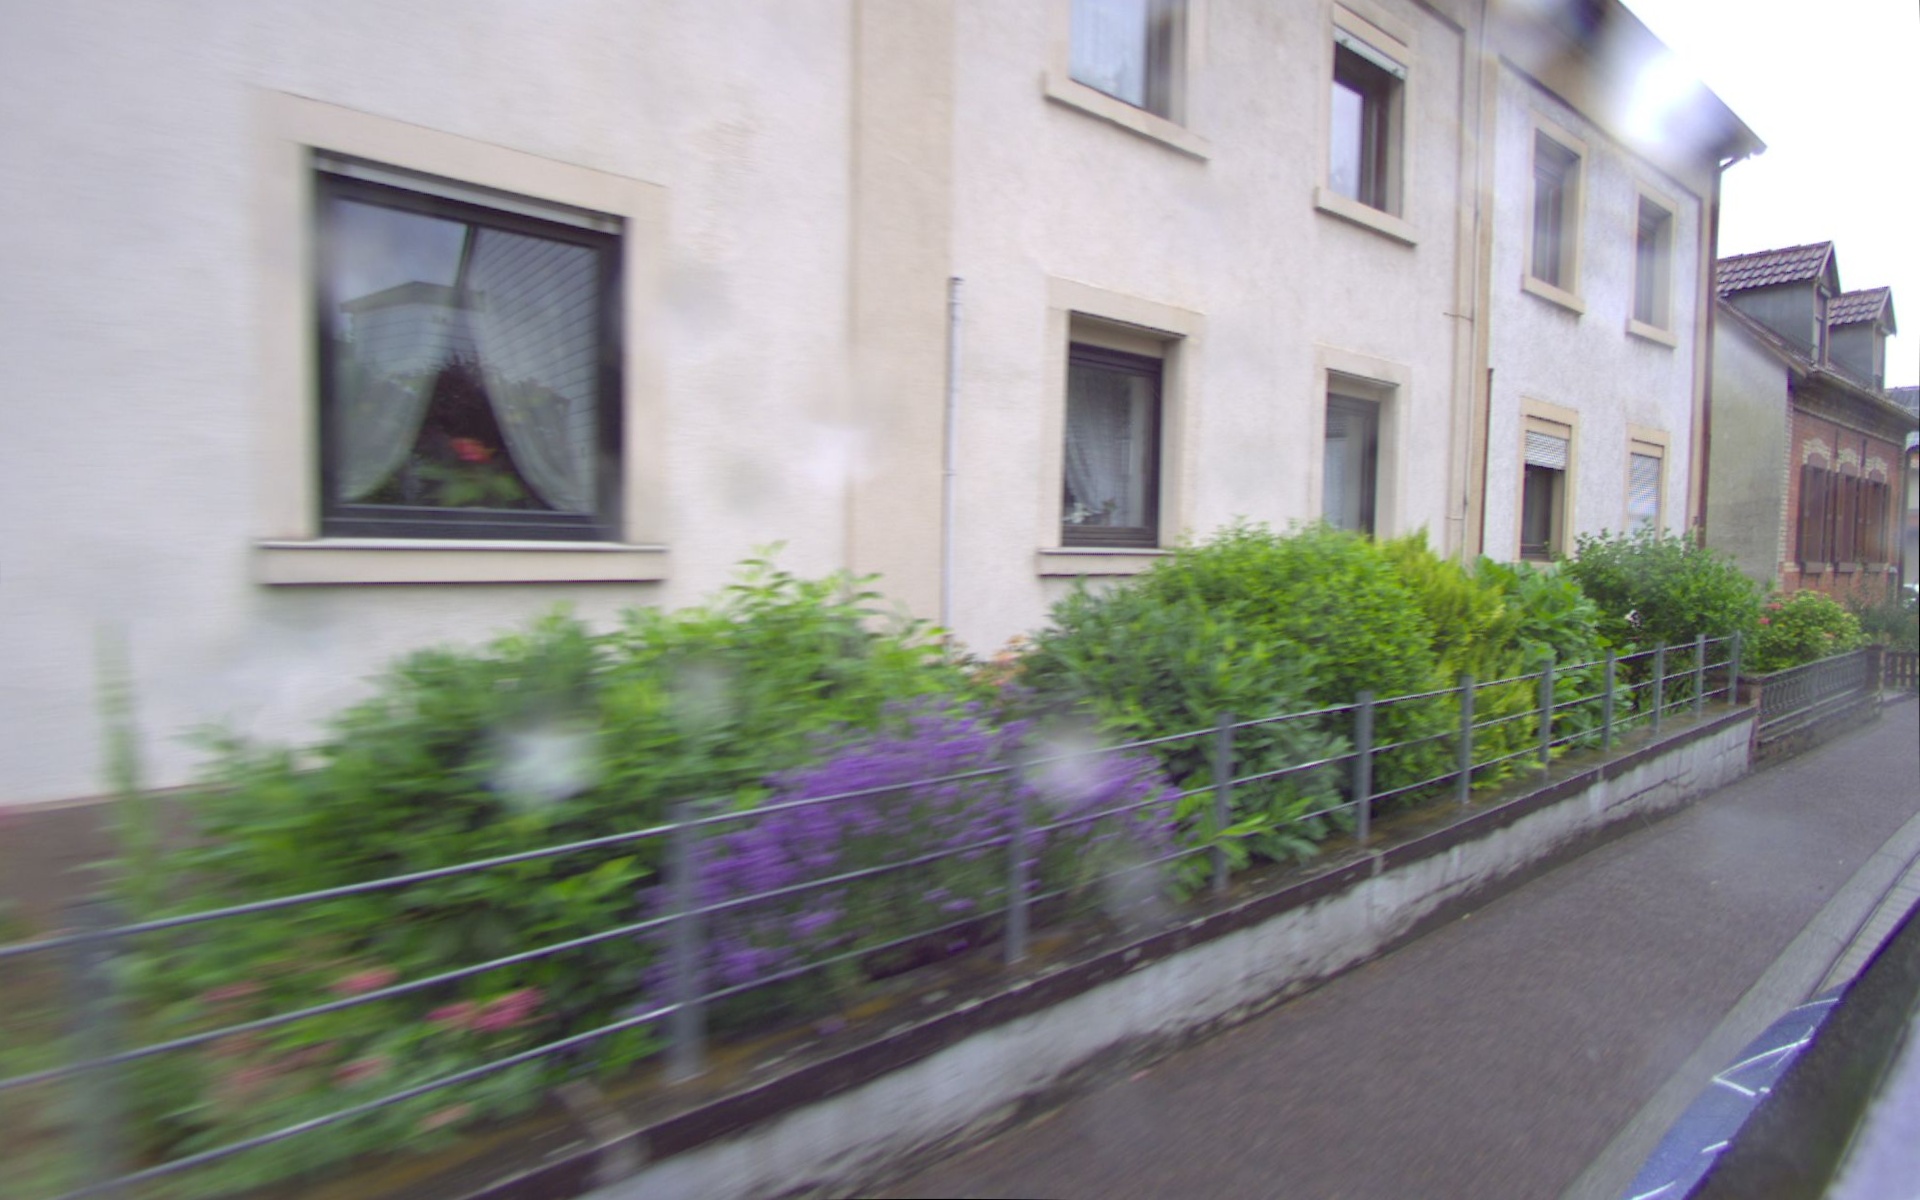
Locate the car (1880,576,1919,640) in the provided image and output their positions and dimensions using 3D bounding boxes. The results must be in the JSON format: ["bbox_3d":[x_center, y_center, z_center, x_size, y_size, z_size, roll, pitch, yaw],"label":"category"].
[{"bbox_3d":[24.730,0.200,24.864,1.869,1.595,3.864,0,1,21],"label":"car"}]
